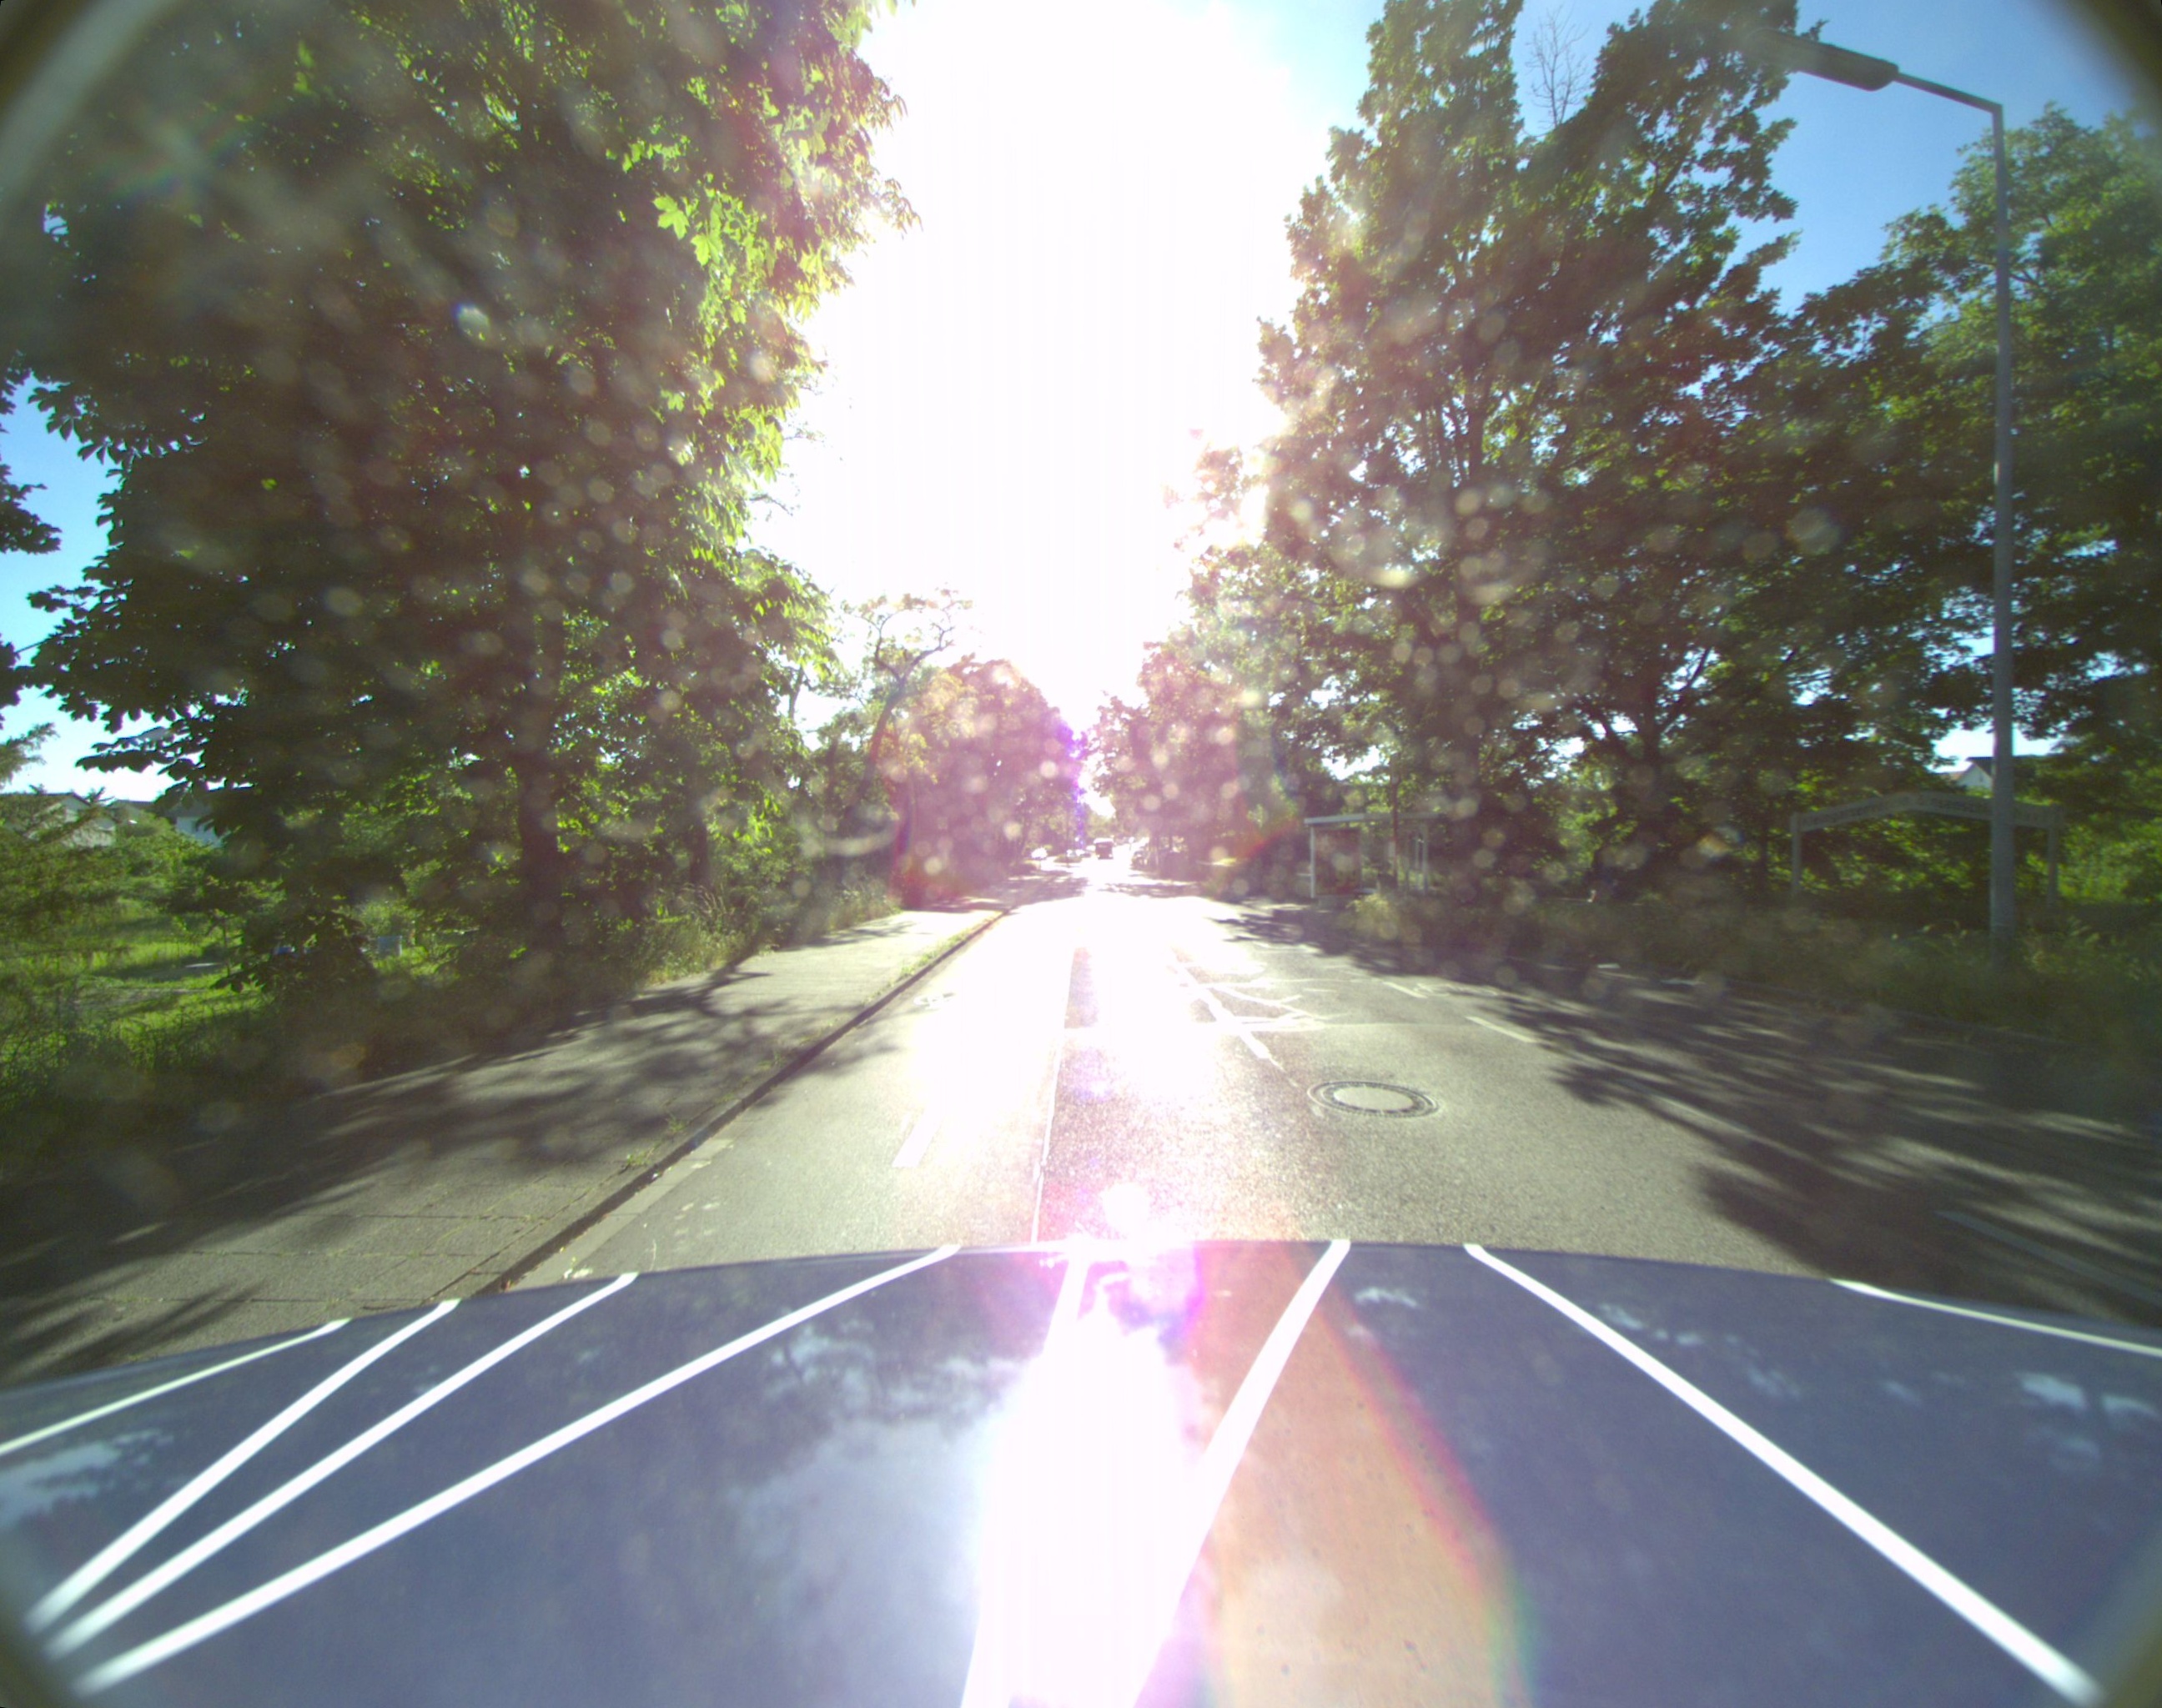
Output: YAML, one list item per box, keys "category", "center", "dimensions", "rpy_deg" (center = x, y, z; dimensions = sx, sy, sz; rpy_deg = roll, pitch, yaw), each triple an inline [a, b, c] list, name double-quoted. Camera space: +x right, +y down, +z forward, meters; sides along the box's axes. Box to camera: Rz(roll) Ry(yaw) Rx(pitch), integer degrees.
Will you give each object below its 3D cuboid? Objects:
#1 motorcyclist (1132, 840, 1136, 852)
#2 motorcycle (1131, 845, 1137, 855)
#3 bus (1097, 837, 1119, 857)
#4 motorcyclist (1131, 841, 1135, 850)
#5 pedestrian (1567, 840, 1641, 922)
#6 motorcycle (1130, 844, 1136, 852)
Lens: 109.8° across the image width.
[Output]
- category: "motorcyclist"
  center: [9.296, -1.447, 133.973]
  dimensions: [0.537, 2.002, 0.826]
  rpy_deg: [-3, 2, -2]
- category: "motorcycle"
  center: [9.328, -0.716, 134.013]
  dimensions: [0.815, 1.668, 2.411]
  rpy_deg: [-3, 1, -2]
- category: "bus"
  center: [4.109, -1.049, 119.125]
  dimensions: [2.790, 2.965, 12.893]
  rpy_deg: [-2, 0, -1]
- category: "motorcyclist"
  center: [10.895, -1.789, 159.745]
  dimensions: [0.640, 2.002, 0.739]
  rpy_deg: [-3, 2, -2]
- category: "pedestrian"
  center: [11.113, 0.562, 16.170]
  dimensions: [0.915, 1.678, 0.891]
  rpy_deg: [-2, 0, 2]
- category: "motorcycle"
  center: [10.940, -1.212, 159.740]
  dimensions: [0.815, 1.624, 2.411]
  rpy_deg: [-3, 1, -2]
